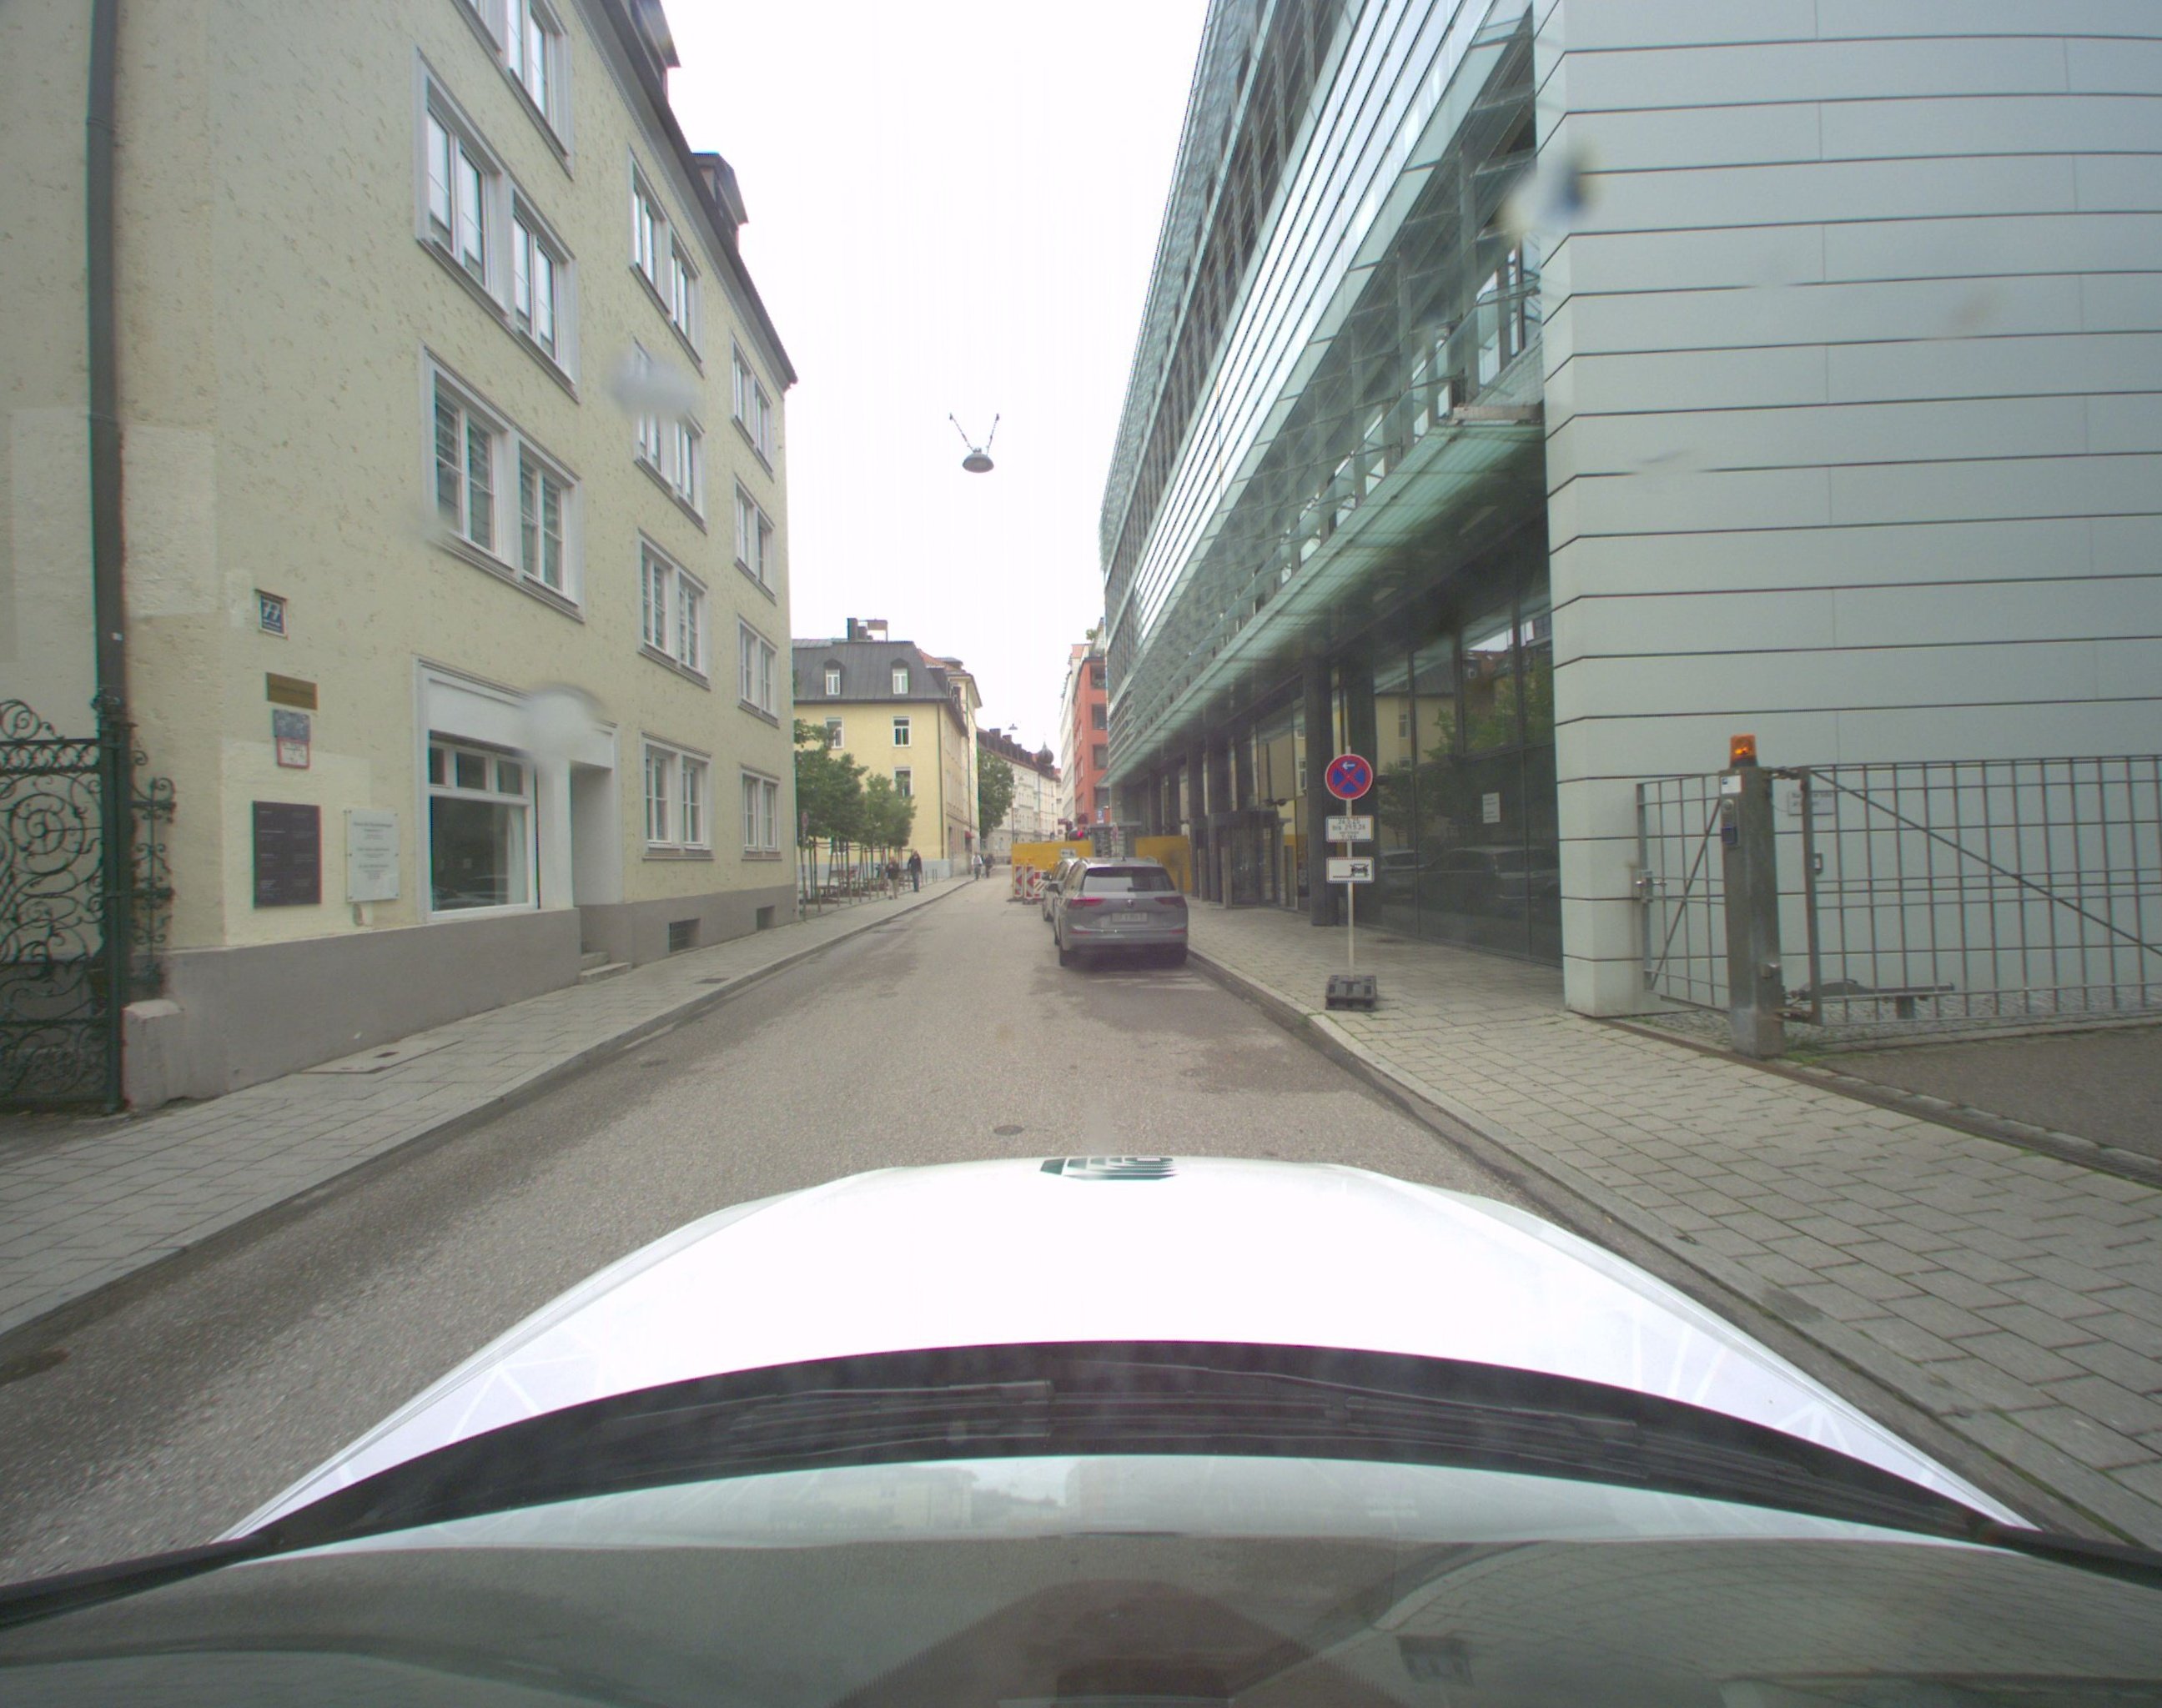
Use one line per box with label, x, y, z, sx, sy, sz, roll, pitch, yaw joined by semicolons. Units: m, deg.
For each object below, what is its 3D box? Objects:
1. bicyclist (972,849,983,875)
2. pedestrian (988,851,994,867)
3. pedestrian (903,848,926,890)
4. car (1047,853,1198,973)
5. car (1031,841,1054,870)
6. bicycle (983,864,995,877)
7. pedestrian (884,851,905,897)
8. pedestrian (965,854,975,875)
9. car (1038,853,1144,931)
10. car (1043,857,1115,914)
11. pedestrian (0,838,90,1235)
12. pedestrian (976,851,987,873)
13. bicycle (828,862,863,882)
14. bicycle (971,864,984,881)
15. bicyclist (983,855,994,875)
bicyclist;-6.725;0.534;52.911;0.658;1.643;0.894;-2;0;-5
pedestrian;-9.751;0.521;88.444;0.633;1.675;0.517;-1;0;-5
pedestrian;-7.509;0.672;36.846;0.866;1.881;1.133;-1;-1;-5
car;0.426;0.738;12.277;1.705;1.432;4.322;-2;0;-5
car;-3.570;0.101;74.648;1.990;2.536;4.967;-1;0;-5
bicycle;-6.474;1.156;57.299;0.706;0.905;1.806;-2;0;-4
pedestrian;-7.006;0.741;30.656;0.646;1.676;0.722;-1;-1;-5
pedestrian;-8.785;0.826;64.533;0.669;1.648;0.760;-1;-1;-5
car;0.090;0.736;17.553;1.706;1.467;4.226;0;0;-7
car;-0.159;0.802;22.701;1.705;1.414;4.502;0;0;-4
pedestrian;-4.863;0.760;3.218;0.711;1.666;0.928;1;-1;-4
pedestrian;-7.889;0.631;64.466;0.838;1.700;0.801;-1;-1;-5
bicycle;-14.628;1.085;50.591;2.035;1.197;0.570;-1;0;2
bicycle;-6.707;1.168;52.901;0.660;1.039;2.001;-2;0;-4
bicyclist;-6.488;0.780;57.374;0.706;1.371;0.812;-2;0;-5
